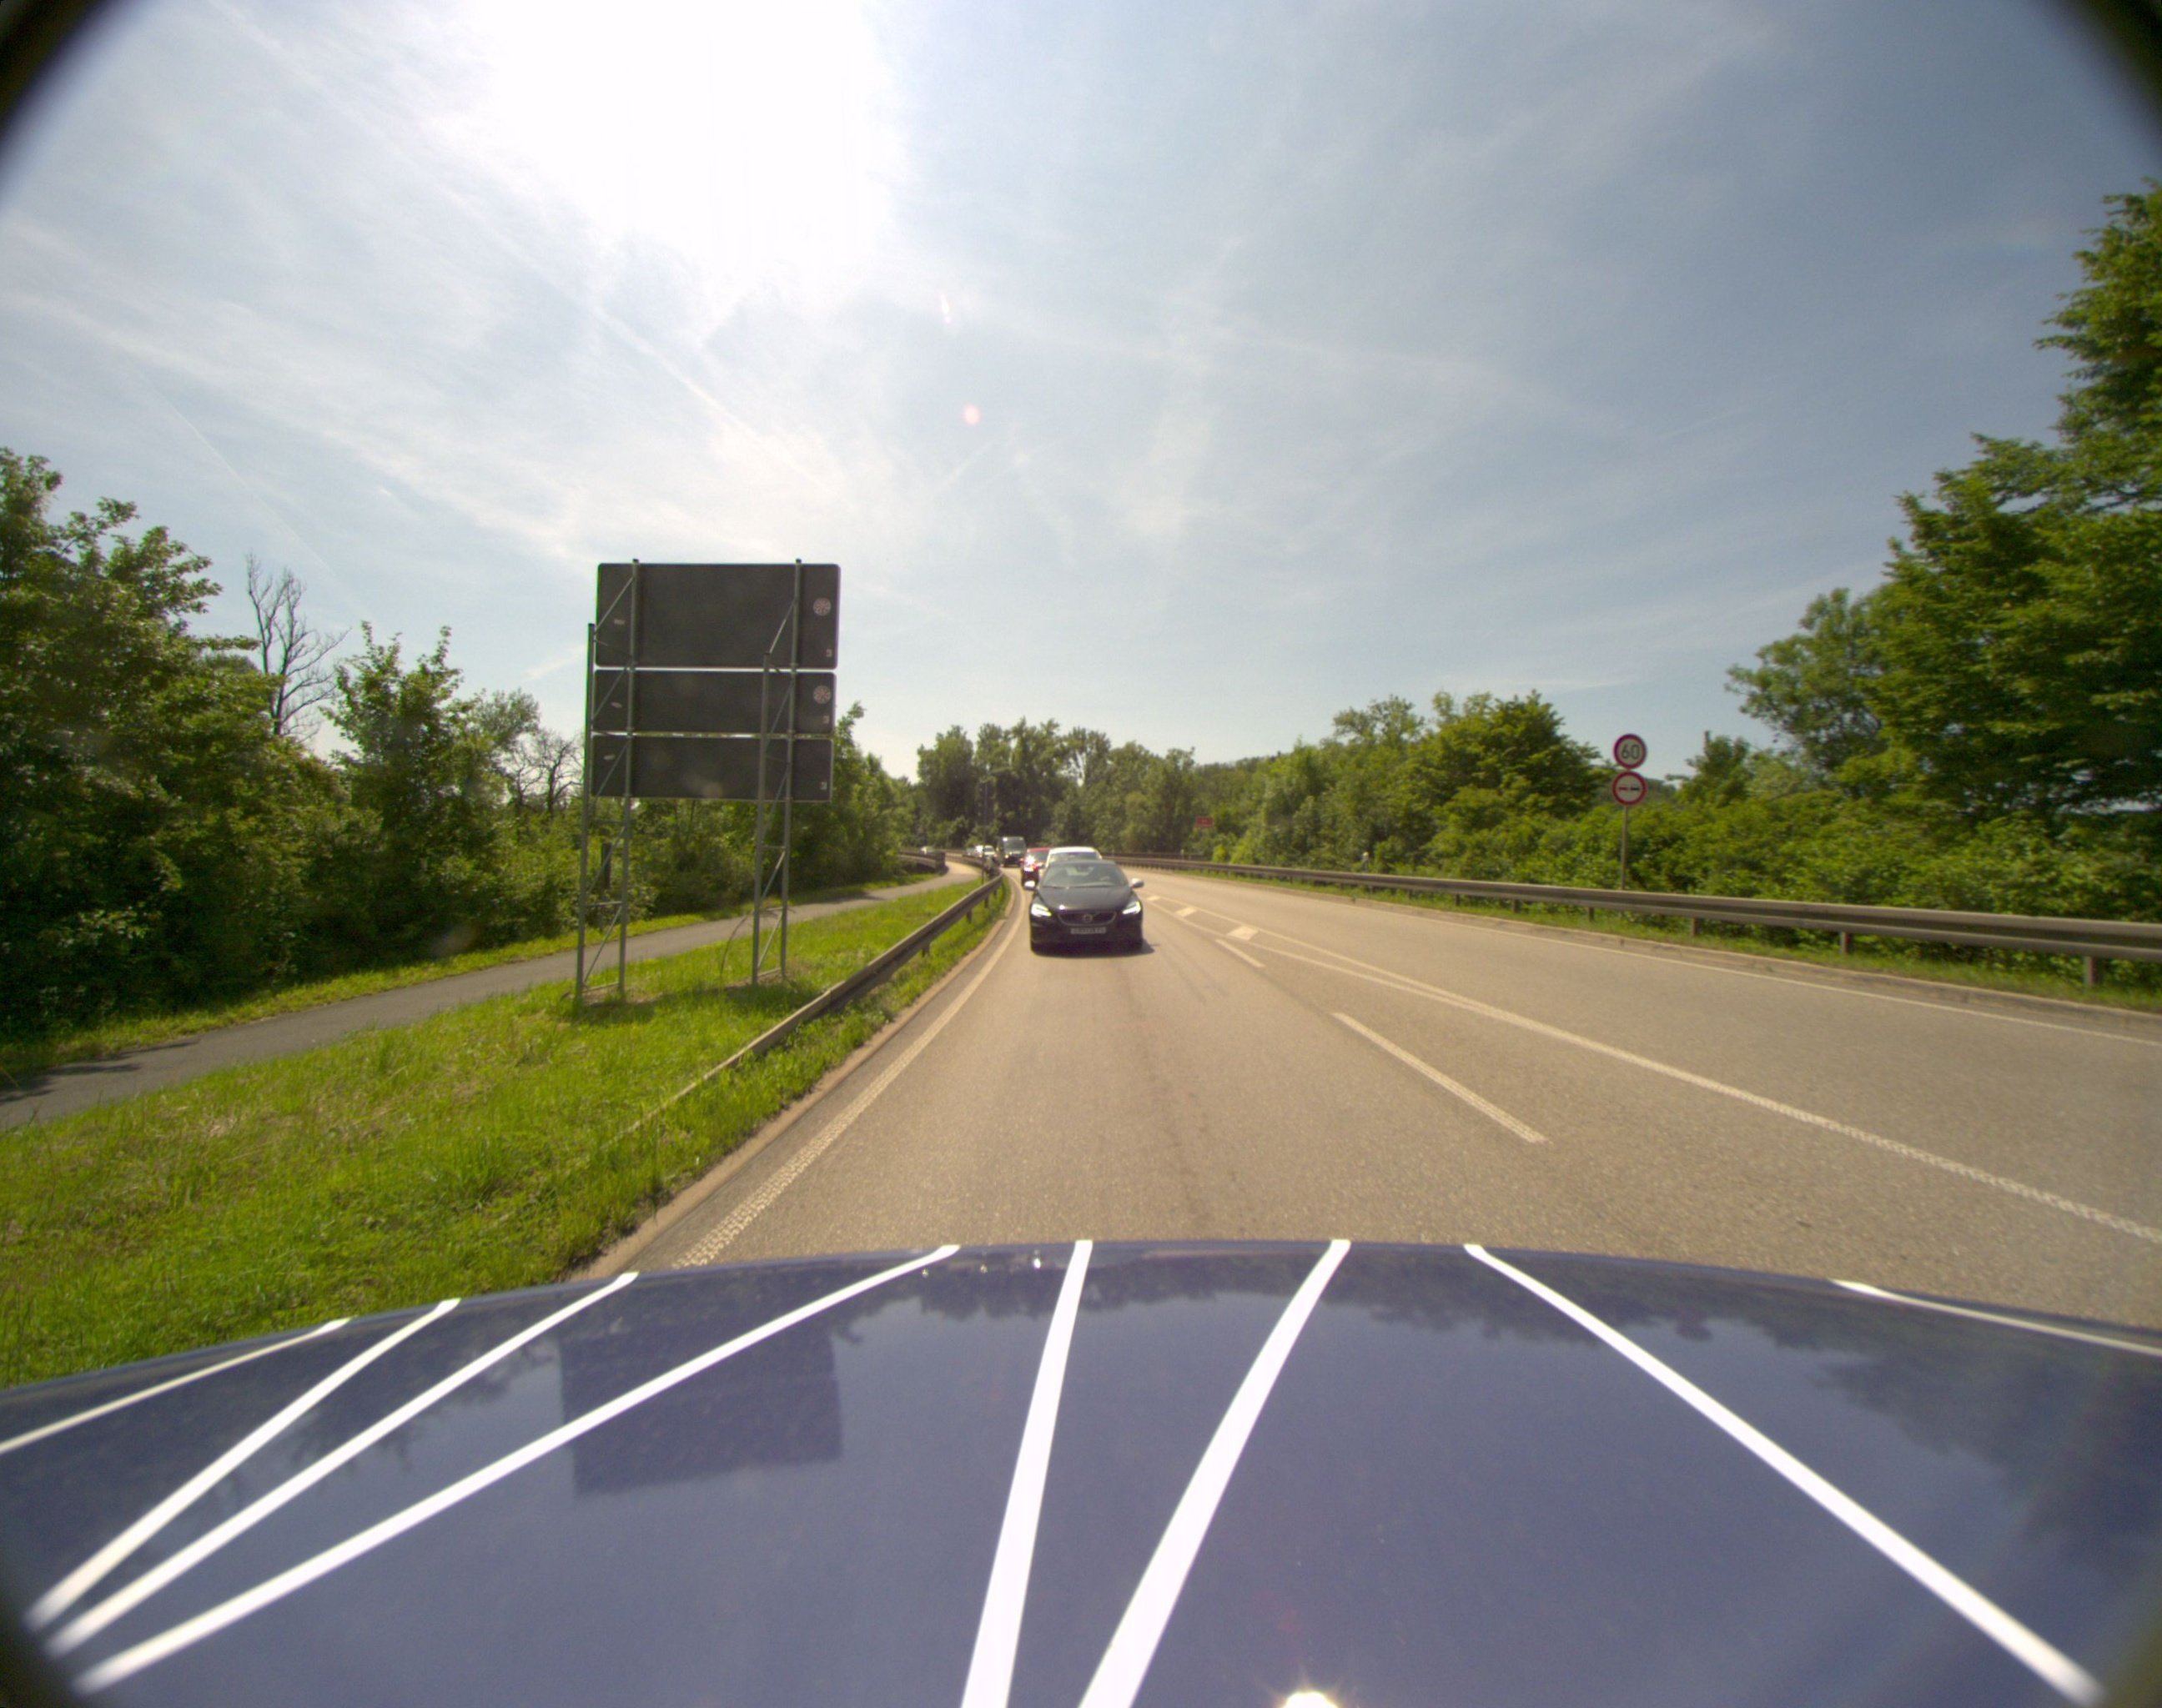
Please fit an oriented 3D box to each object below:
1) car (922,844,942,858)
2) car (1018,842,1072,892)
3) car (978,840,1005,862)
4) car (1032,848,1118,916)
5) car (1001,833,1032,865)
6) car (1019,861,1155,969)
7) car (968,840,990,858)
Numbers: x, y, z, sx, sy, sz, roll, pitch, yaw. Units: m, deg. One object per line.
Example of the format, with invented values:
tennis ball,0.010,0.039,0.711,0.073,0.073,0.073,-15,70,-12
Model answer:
car,-23.186,-0.529,118.090,2.002,2.003,3.991,-3,3,-25
car,-1.553,0.475,31.454,1.999,1.766,3.996,-2,2,-6
car,-9.243,-0.342,78.249,2.001,2.002,4.705,-2,2,-15
car,-0.274,0.685,20.717,1.910,1.638,3.948,-1,0,-6
car,-5.416,-0.465,63.042,2.000,2.471,4.853,-2,2,-11
car,0.058,0.890,12.935,1.909,1.413,3.949,-2,1,-1
car,-12.219,-0.576,90.925,2.001,2.003,3.993,-3,2,-16
